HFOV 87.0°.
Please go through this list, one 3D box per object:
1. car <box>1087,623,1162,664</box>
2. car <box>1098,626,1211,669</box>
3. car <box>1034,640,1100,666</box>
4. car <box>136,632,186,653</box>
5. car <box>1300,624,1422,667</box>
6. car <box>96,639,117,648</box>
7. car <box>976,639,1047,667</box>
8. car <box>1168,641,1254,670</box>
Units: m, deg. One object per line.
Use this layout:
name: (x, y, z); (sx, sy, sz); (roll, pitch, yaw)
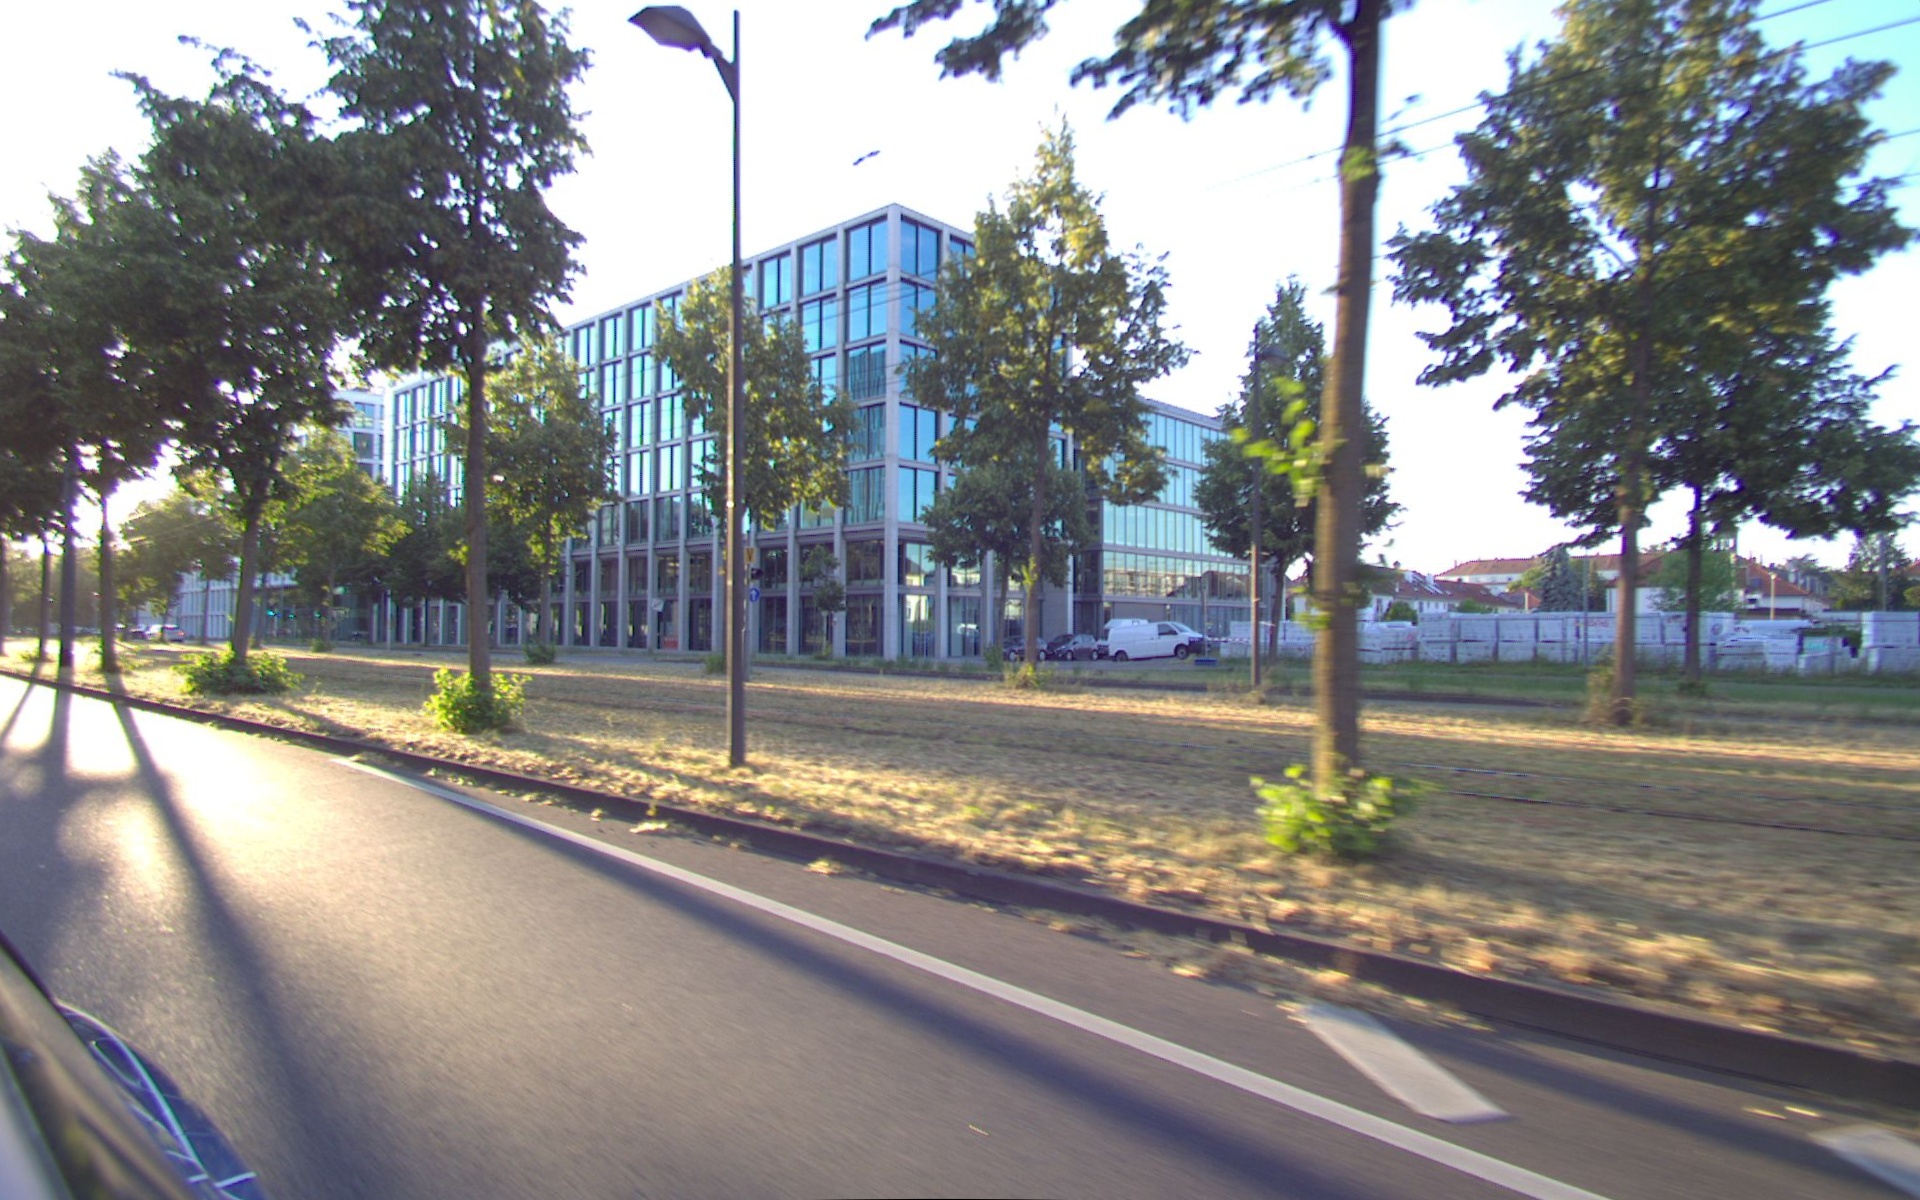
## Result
car: (10.499, 2.764, 64.252); (1.973, 2.486, 5.420); (-2, -3, 44)
car: (9.544, 2.311, 49.844); (5.080, 2.029, 2.184); (-2, -3, 40)
car: (6.354, 3.106, 60.025); (1.894, 1.457, 3.942); (-2, -3, 44)
car: (-59.657, 3.174, 75.510); (4.625, 1.497, 1.884); (-2, -3, 38)
car: (27.085, 3.036, 68.568); (7.303, 2.787, 2.443); (-2, -3, 40)
car: (-136.914, 7.039, 162.293); (3.995, 1.414, 1.742); (-2, -3, 38)
car: (2.895, 2.933, 56.474); (1.894, 1.457, 3.943); (-2, -3, 43)
car: (13.333, 2.916, 53.838); (3.997, 1.429, 1.973); (-2, -3, 40)
